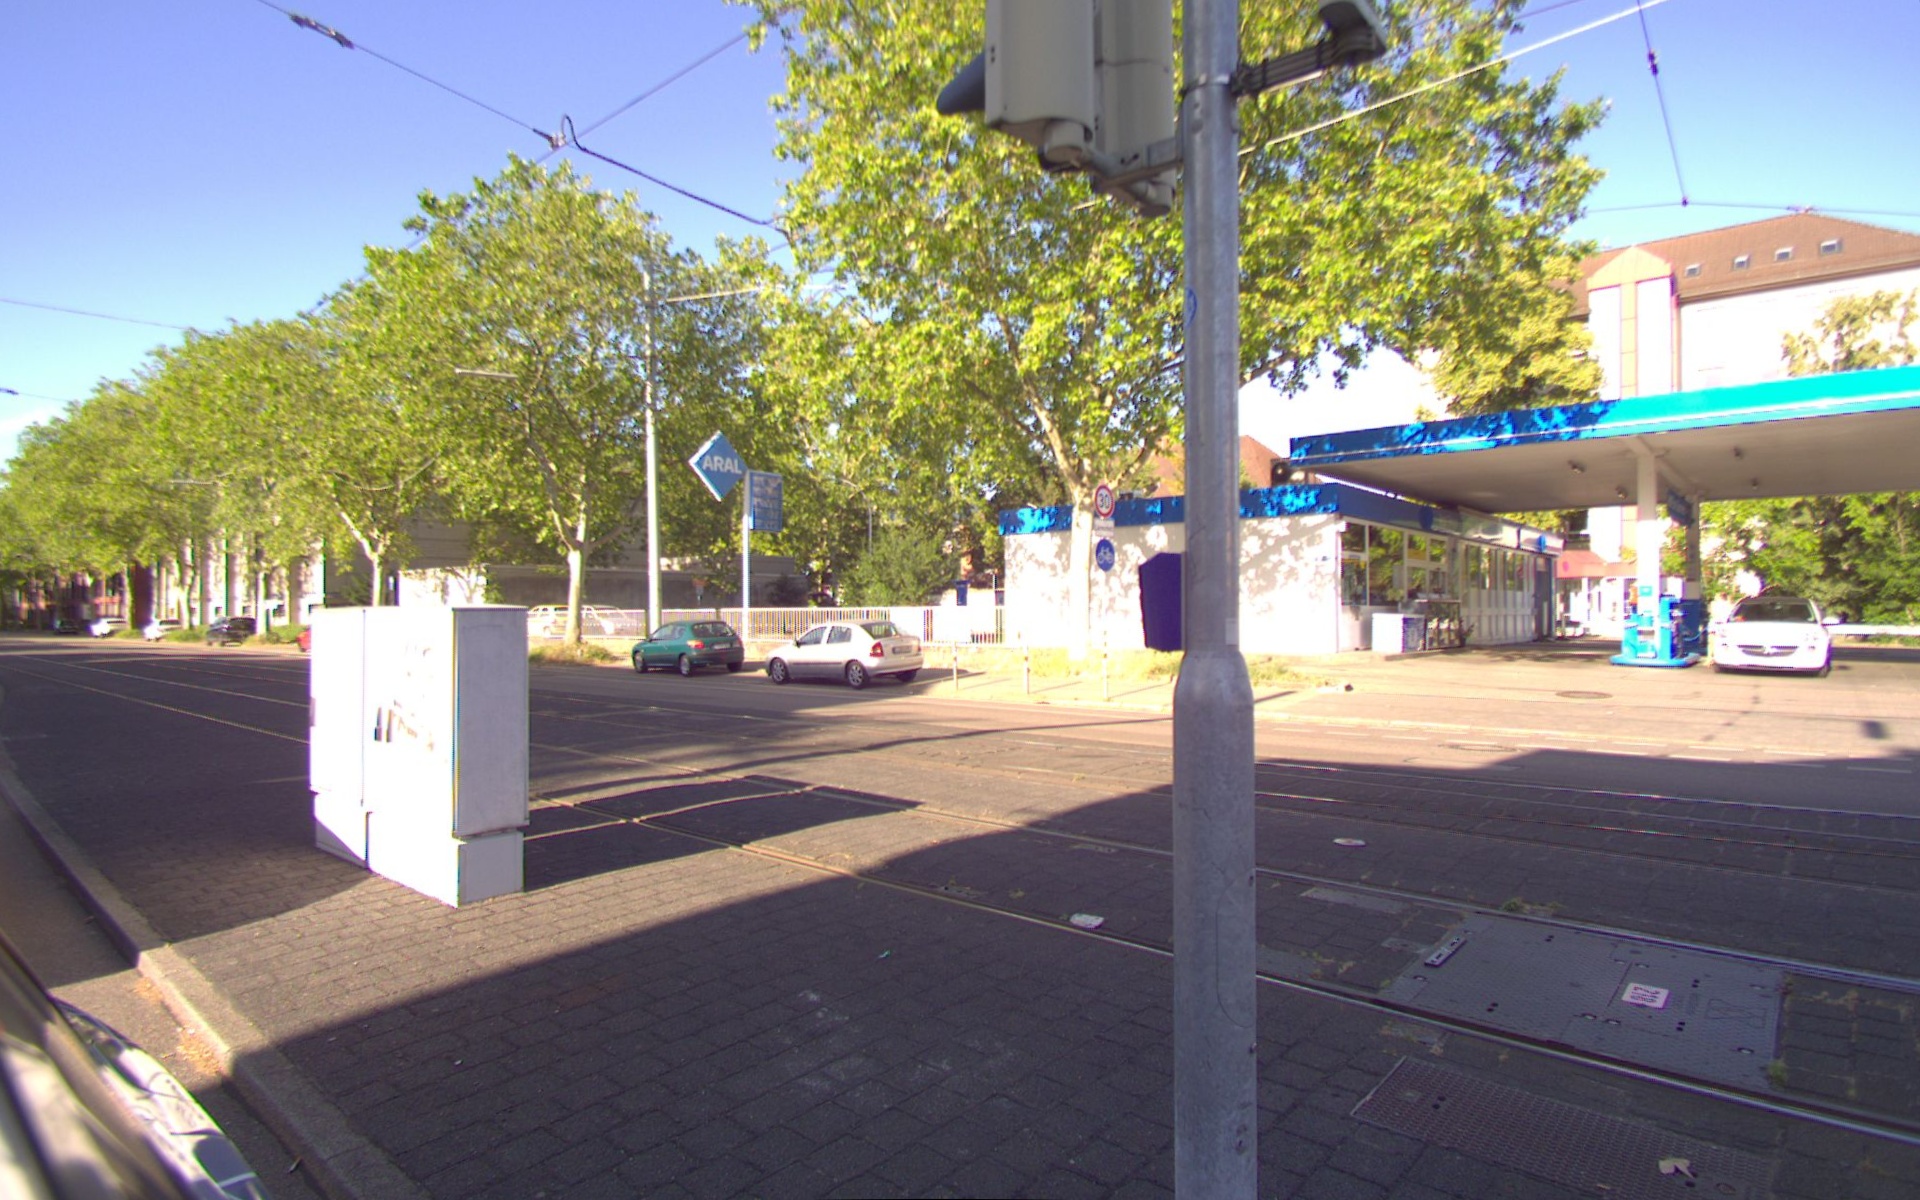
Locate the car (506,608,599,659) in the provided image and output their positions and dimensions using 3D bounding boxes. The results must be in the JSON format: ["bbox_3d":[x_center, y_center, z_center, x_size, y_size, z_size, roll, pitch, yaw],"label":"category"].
[{"bbox_3d":[-17.041,1.391,42.267,3.996,2.029,1.974,-1,-1,39],"label":"car"}]

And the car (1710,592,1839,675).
[{"bbox_3d":[15.943,0.612,19.786,1.793,1.453,3.946,-1,-1,40],"label":"car"}]

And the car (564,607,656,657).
[{"bbox_3d":[-15.142,1.361,43.695,3.996,2.029,1.974,-1,-1,39],"label":"car"}]

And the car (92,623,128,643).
[{"bbox_3d":[-66.922,2.575,79.647,3.858,1.495,1.735,-1,0,43],"label":"car"}]

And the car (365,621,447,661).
[{"bbox_3d":[-21.982,1.586,40.096,3.858,1.468,1.735,-1,0,43],"label":"car"}]

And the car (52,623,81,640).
[{"bbox_3d":[-84.868,3.007,96.122,3.858,1.495,1.735,-1,0,43],"label":"car"}]

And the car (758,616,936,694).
[{"bbox_3d":[-2.570,1.167,22.600,3.857,1.497,1.823,-1,1,42],"label":"car"}]

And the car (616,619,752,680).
[{"bbox_3d":[-7.430,1.274,27.080,3.858,1.408,1.722,-1,1,43],"label":"car"}]

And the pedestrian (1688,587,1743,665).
[{"bbox_3d":[16.144,0.552,21.624,0.637,1.642,0.814,1,-2,-42],"label":"pedestrian"}]

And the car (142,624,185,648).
[{"bbox_3d":[-53.634,2.395,68.127,3.858,1.495,1.735,-1,0,43],"label":"car"}]

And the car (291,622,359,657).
[{"bbox_3d":[-28.909,1.772,46.050,3.858,1.440,1.695,-1,0,43],"label":"car"}]

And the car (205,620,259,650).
[{"bbox_3d":[-40.672,1.953,56.491,3.858,1.557,1.735,-1,0,43],"label":"car"}]
